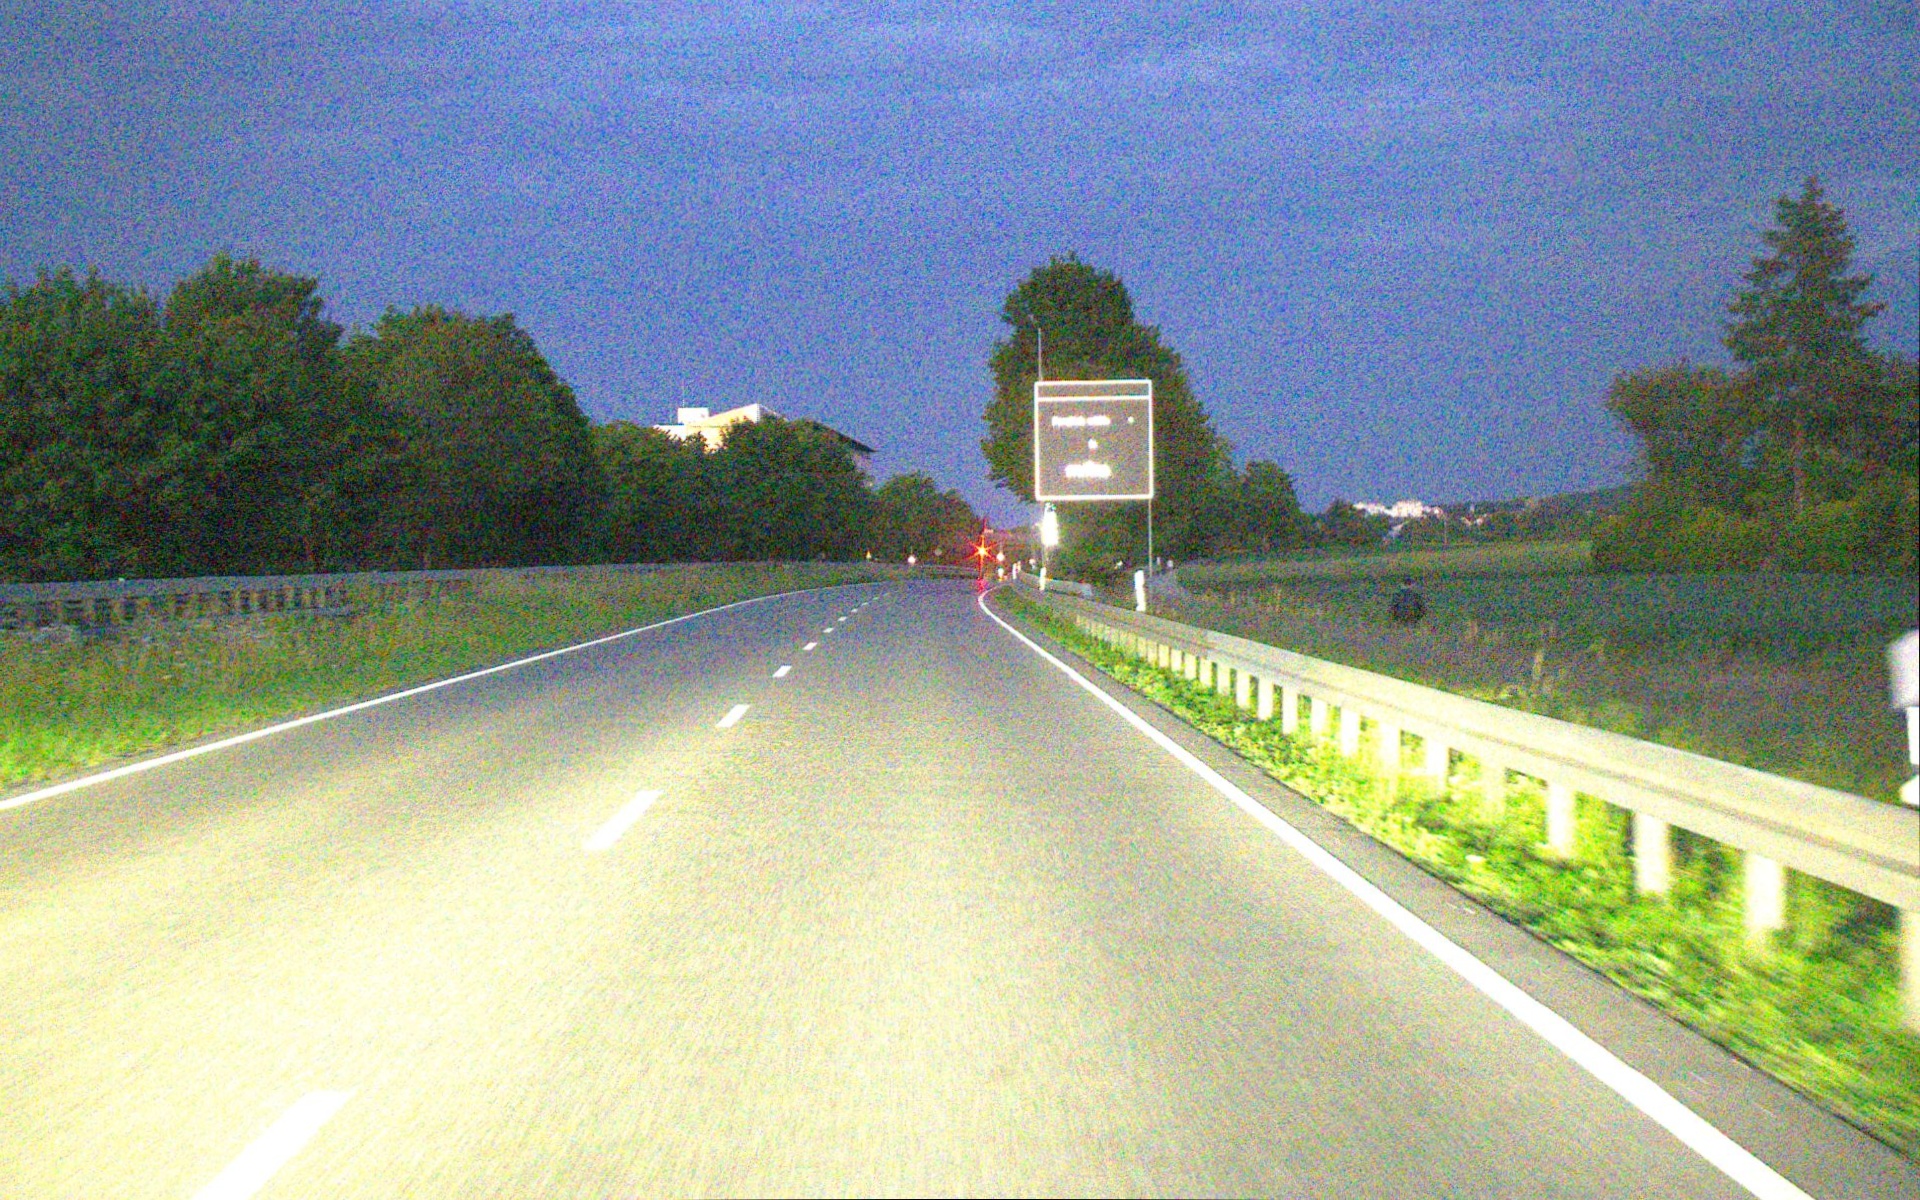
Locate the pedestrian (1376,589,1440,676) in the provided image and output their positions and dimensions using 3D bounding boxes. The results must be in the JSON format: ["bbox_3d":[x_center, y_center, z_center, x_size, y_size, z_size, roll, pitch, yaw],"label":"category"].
[{"bbox_3d":[8.557,0.618,65.689,1.062,1.637,1.118,1,0,0],"label":"pedestrian"}]
